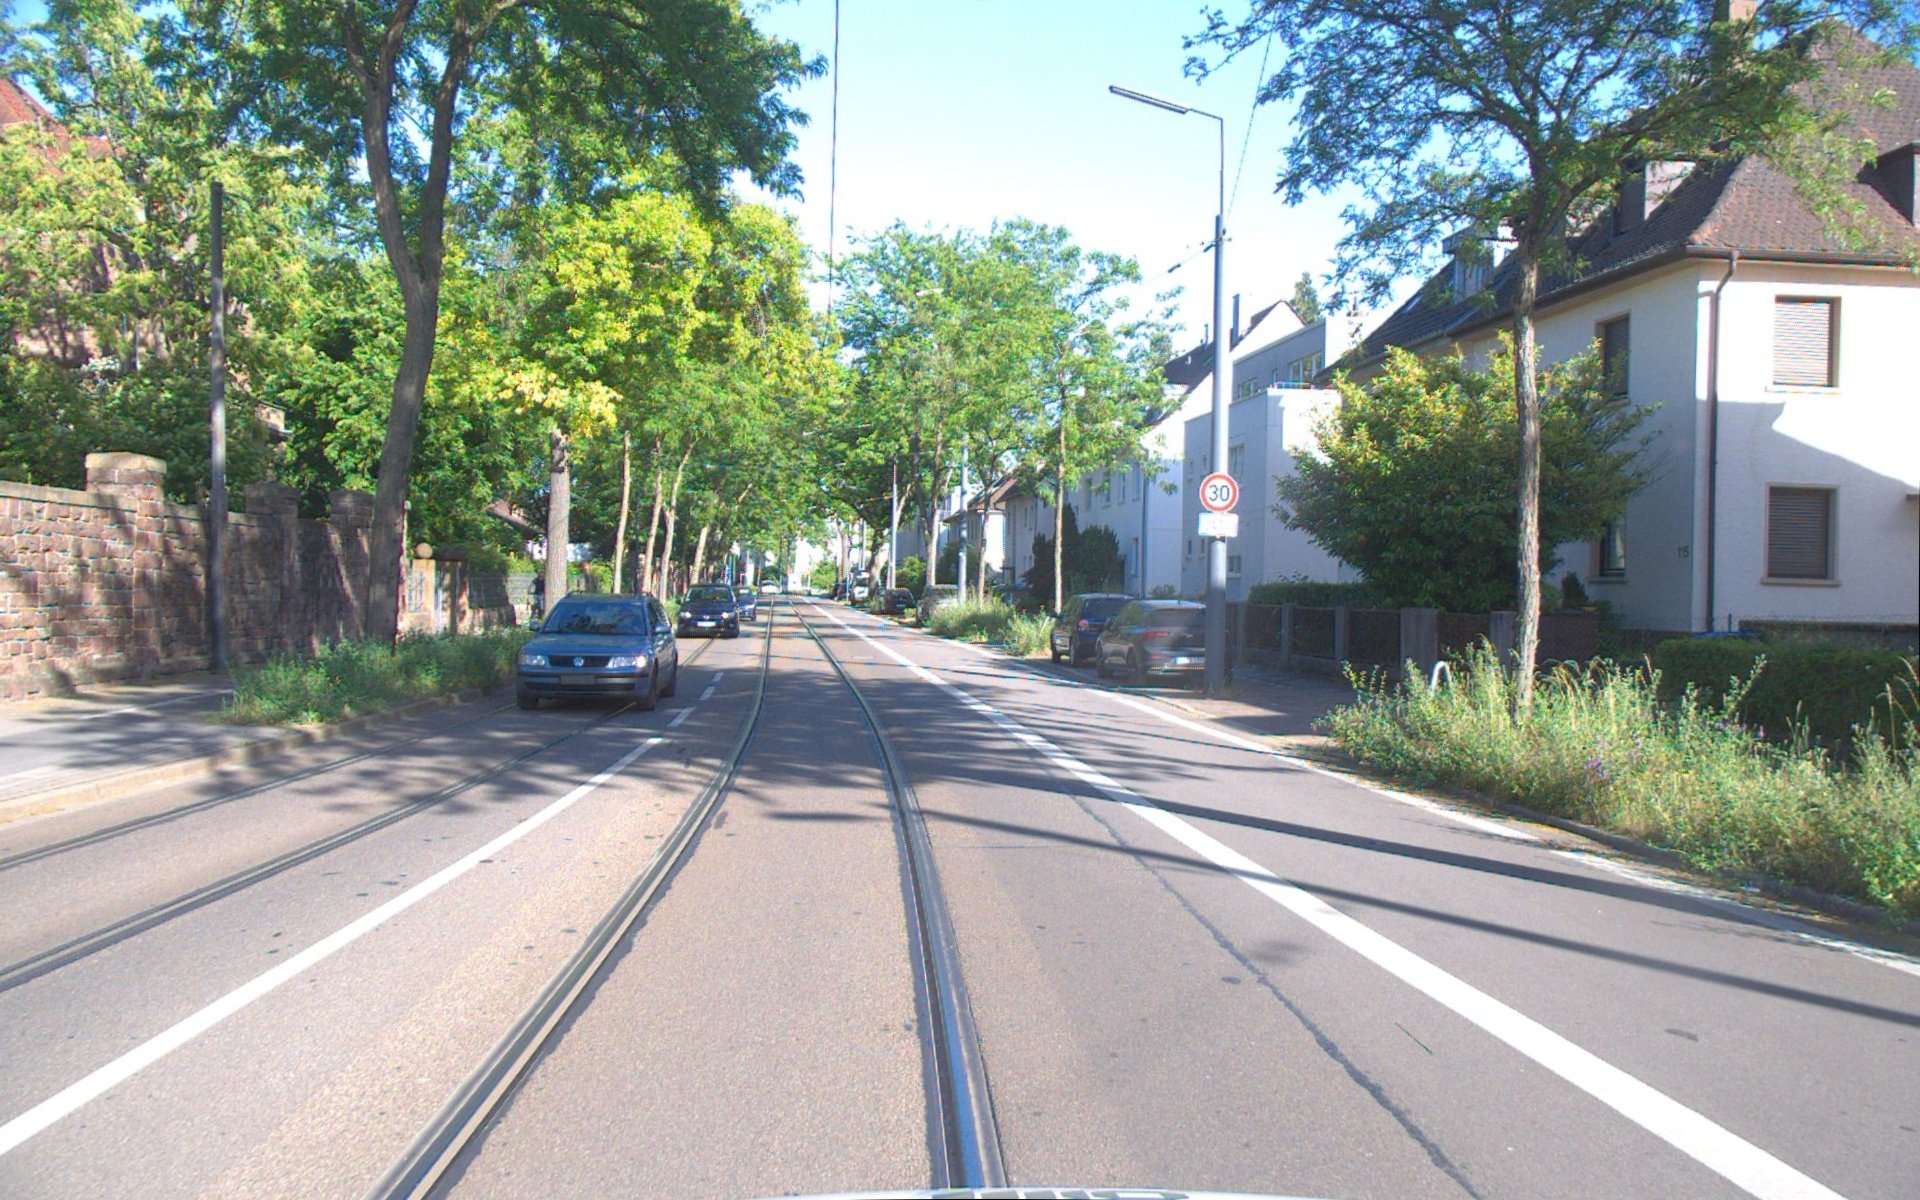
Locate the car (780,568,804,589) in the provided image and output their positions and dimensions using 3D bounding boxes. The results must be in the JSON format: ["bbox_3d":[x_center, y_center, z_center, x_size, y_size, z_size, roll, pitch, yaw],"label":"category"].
[{"bbox_3d":[-20.901,-2.678,205.500,1.963,2.501,4.484,0,0,-19],"label":"car"}]

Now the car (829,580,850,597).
[{"bbox_3d":[-12.641,-1.228,173.773,1.963,1.704,4.390,-1,1,-3],"label":"car"}]

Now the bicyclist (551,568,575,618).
[{"bbox_3d":[-12.657,-0.223,52.793,0.582,1.554,1.060,1,0,-6],"label":"bicyclist"}]

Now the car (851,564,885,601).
[{"bbox_3d":[-6.943,-1.287,124.579,2.202,2.700,5.577,-1,1,-7],"label":"car"}]

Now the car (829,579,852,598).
[{"bbox_3d":[-11.333,-1.078,156.312,1.965,1.704,4.386,-1,1,-7],"label":"car"}]

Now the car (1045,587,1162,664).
[{"bbox_3d":[2.990,0.501,35.200,1.715,1.521,3.991,0,1,-7],"label":"car"}]

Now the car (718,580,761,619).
[{"bbox_3d":[-9.433,-0.037,70.966,1.715,1.550,4.064,1,0,-7],"label":"car"}]

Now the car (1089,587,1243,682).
[{"bbox_3d":[3.527,0.547,29.107,1.715,1.521,4.437,0,1,-6],"label":"car"}]

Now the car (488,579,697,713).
[{"bbox_3d":[-4.739,0.534,21.987,1.954,1.550,4.577,1,0,-3],"label":"car"}]

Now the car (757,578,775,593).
[{"bbox_3d":[-22.822,-1.750,194.791,1.832,1.704,4.162,0,1,-11],"label":"car"}]

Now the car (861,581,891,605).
[{"bbox_3d":[-5.255,-0.465,103.114,1.596,1.422,3.640,-2,1,-7],"label":"car"}]

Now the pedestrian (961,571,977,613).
[{"bbox_3d":[0.408,-0.369,75.863,0.614,1.903,0.731,-2,1,-7],"label":"pedestrian"}]

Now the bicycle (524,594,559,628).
[{"bbox_3d":[-12.490,0.308,49.428,0.697,0.977,2.092,1,1,-5],"label":"bicycle"}]

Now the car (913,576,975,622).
[{"bbox_3d":[-0.701,-0.059,67.227,1.956,1.734,4.470,-2,1,-7],"label":"car"}]

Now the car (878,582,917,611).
[{"bbox_3d":[-3.557,-0.222,93.622,1.750,1.473,4.293,-2,1,-8],"label":"car"}]

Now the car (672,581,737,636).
[{"bbox_3d":[-7.561,0.220,49.202,1.715,1.550,4.030,1,0,-7],"label":"car"}]
